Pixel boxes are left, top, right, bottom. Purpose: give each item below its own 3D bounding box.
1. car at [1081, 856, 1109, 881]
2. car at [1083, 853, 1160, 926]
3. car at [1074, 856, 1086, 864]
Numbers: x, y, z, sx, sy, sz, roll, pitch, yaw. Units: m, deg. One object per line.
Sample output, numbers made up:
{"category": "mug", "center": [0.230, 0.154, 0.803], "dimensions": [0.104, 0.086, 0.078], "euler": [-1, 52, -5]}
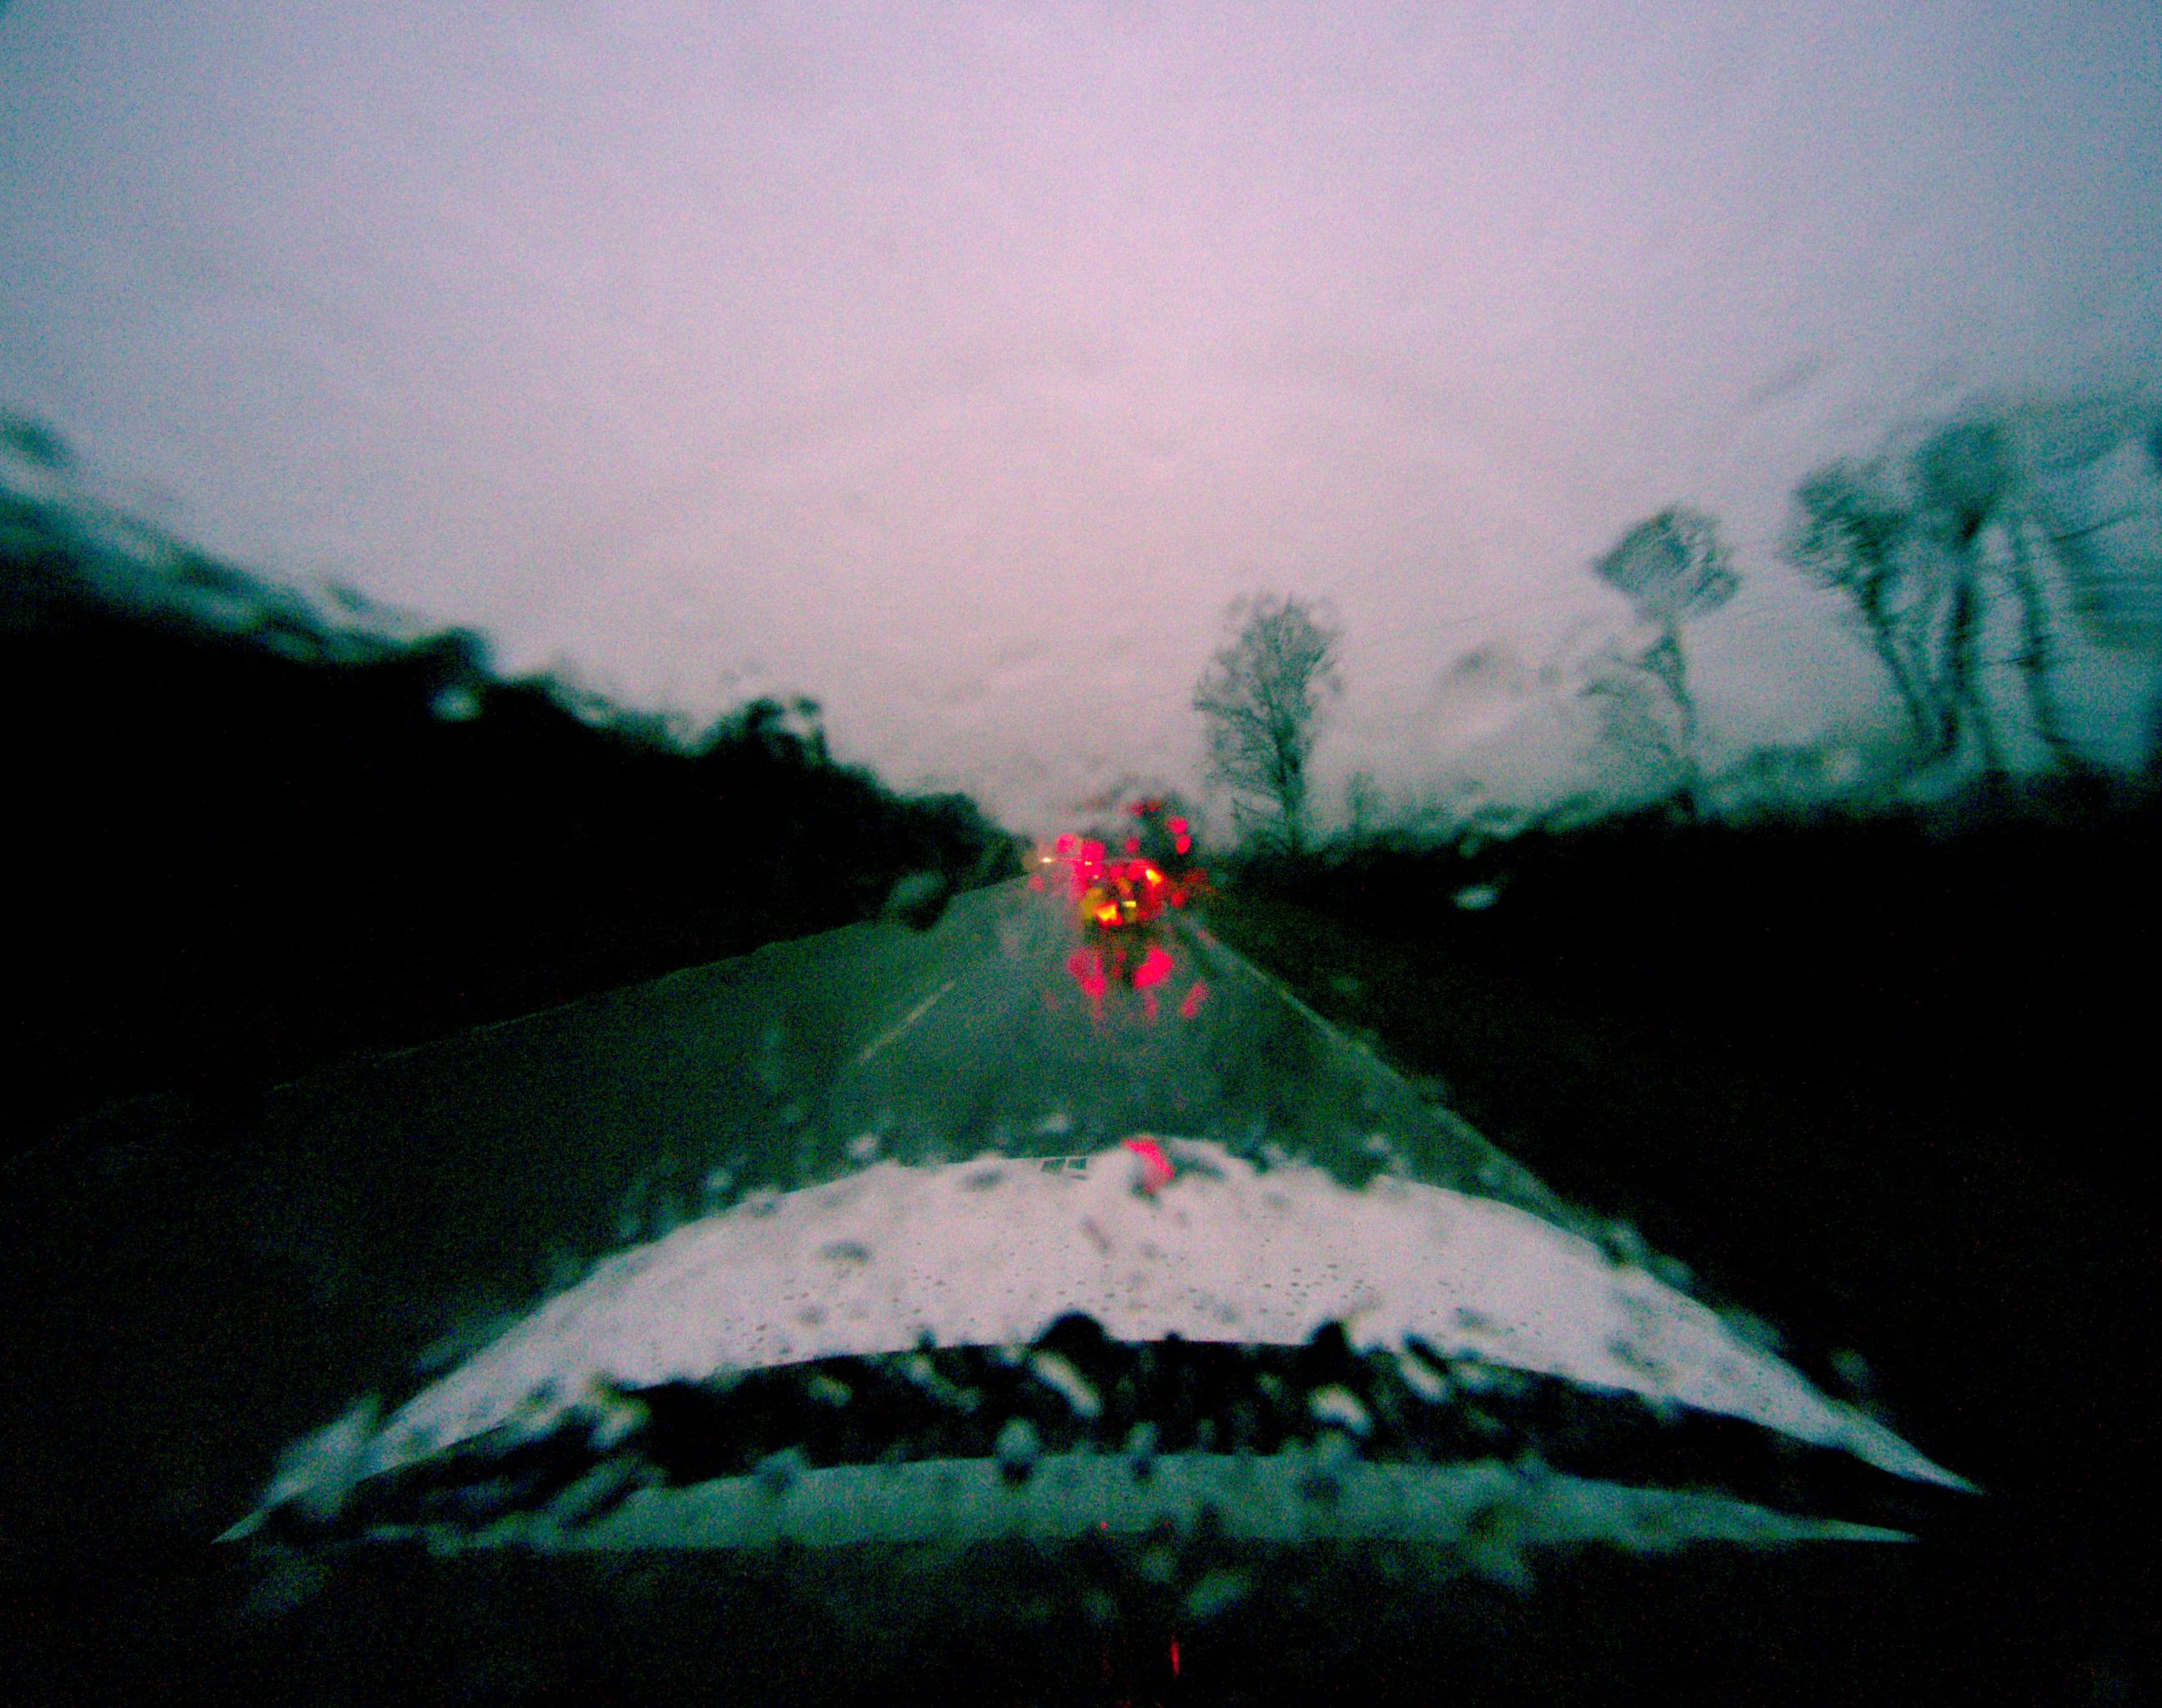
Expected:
{"category": "car", "center": [0.857, 0.833, 47.764], "dimensions": [1.541, 1.396, 3.872], "euler": [-1, 0, 2]}
{"category": "car", "center": [0.922, 0.748, 19.139], "dimensions": [1.596, 1.522, 3.871], "euler": [-1, 0, 2]}
{"category": "car", "center": [-0.141, 1.082, 142.347], "dimensions": [1.539, 1.396, 3.877], "euler": [-1, 0, 7]}
